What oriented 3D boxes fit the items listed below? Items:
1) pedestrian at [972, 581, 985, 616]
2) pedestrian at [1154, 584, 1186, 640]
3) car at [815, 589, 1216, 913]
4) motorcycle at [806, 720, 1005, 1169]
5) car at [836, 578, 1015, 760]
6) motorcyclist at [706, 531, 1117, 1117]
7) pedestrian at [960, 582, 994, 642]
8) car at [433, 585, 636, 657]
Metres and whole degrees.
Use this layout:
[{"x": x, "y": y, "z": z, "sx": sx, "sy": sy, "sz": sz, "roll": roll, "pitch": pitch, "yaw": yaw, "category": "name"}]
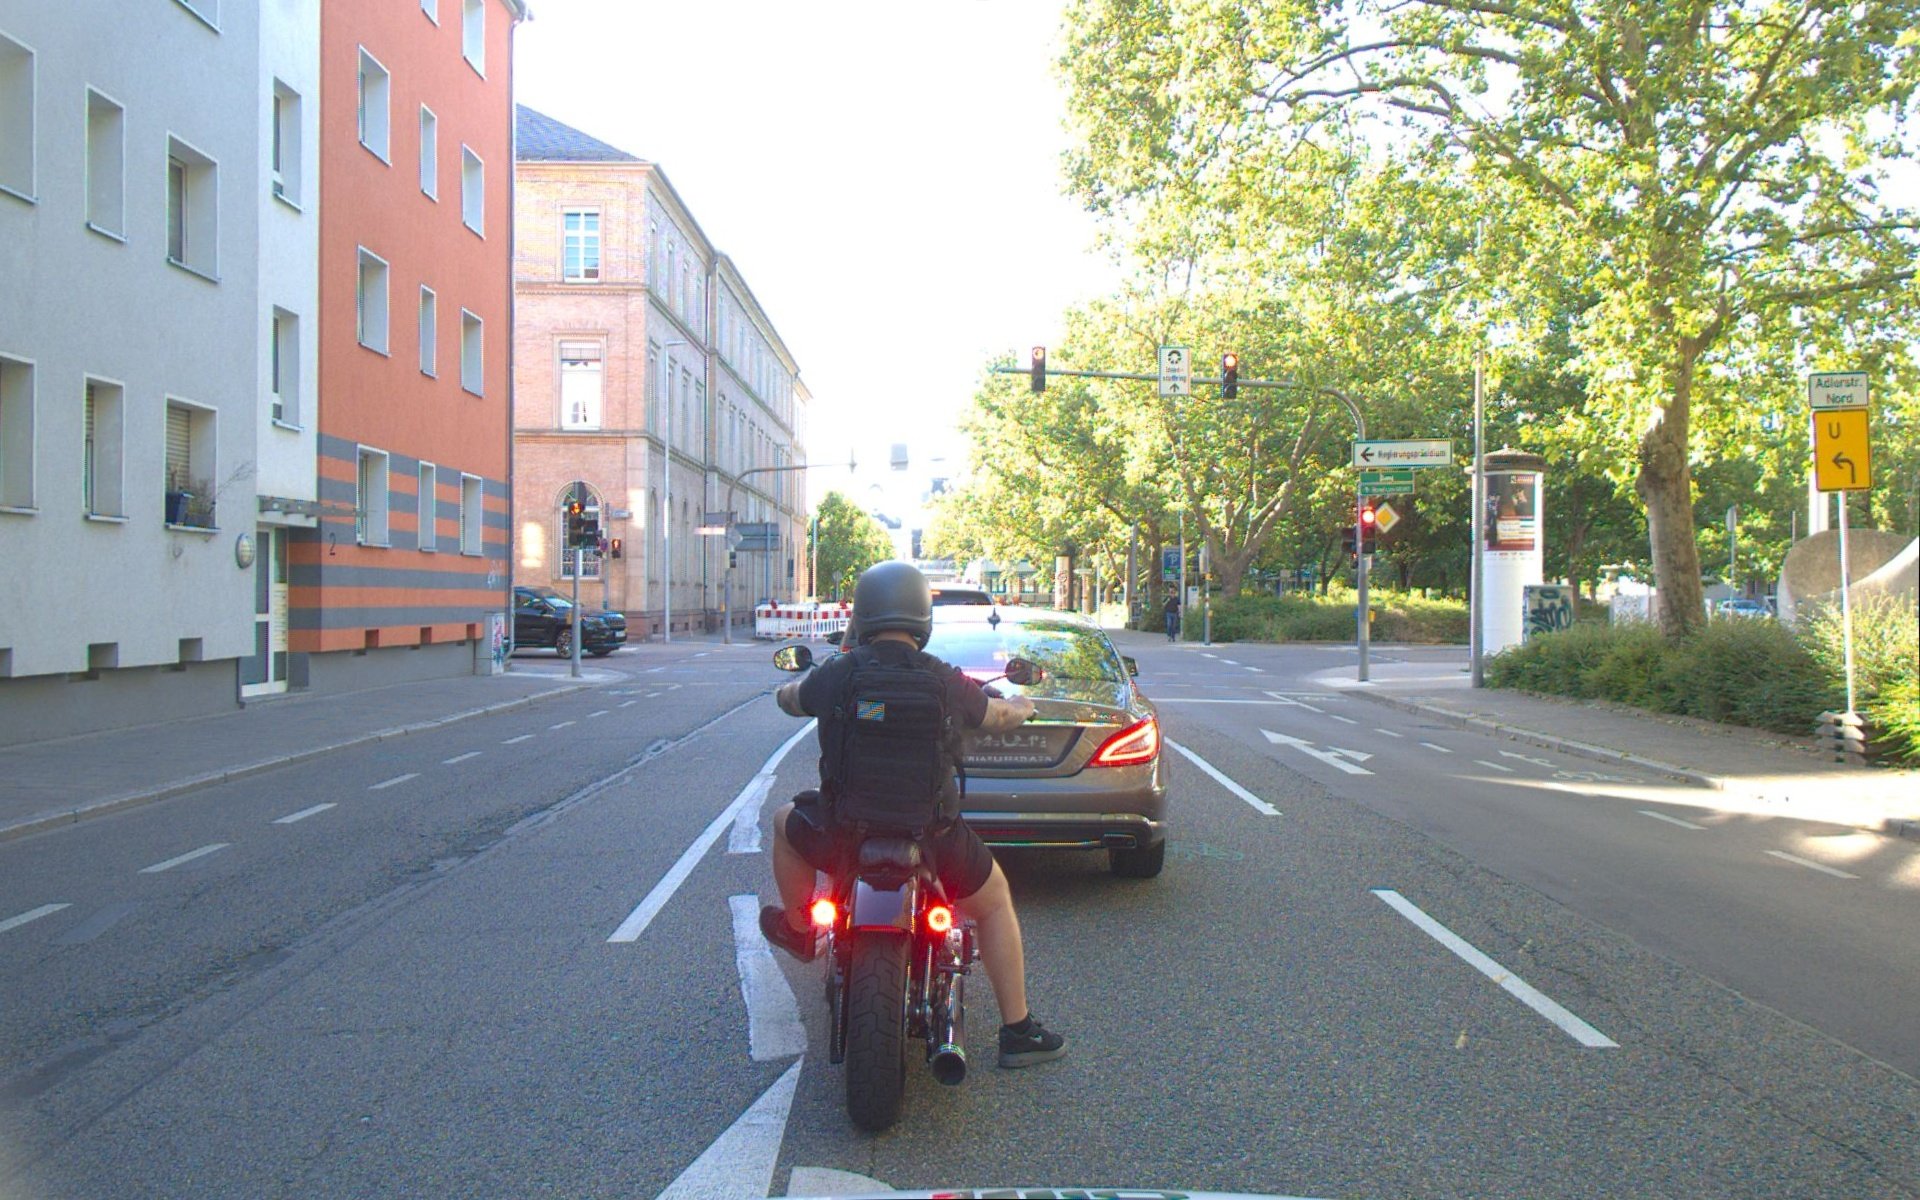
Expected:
[{"x": 1.114, "y": -0.083, "z": 100.825, "sx": 0.748, "sy": 2.087, "sz": 0.712, "roll": 1, "pitch": -1, "yaw": -1, "category": "pedestrian"}, {"x": 7.484, "y": 0.427, "z": 58.966, "sx": 0.741, "sy": 1.943, "sz": 0.917, "roll": 1, "pitch": -1, "yaw": -29, "category": "pedestrian"}, {"x": 0.235, "y": 0.694, "z": 9.600, "sx": 1.844, "sy": 1.475, "sz": 3.819, "roll": 1, "pitch": 0, "yaw": -1, "category": "car"}, {"x": -0.156, "y": 0.969, "z": 5.308, "sx": 0.503, "sy": 1.020, "sz": 2.013, "roll": 1, "pitch": 0, "yaw": -1, "category": "motorcycle"}, {"x": -0.331, "y": 0.606, "z": 16.709, "sx": 1.588, "sy": 1.622, "sz": 3.999, "roll": 0, "pitch": 0, "yaw": -1, "category": "car"}, {"x": -0.142, "y": 0.631, "z": 5.283, "sx": 1.125, "sy": 1.626, "sz": 1.288, "roll": 1, "pitch": 0, "yaw": -1, "category": "motorcyclist"}, {"x": 0.545, "y": 0.386, "z": 52.552, "sx": 0.980, "sy": 1.858, "sz": 1.077, "roll": 1, "pitch": -1, "yaw": 5, "category": "pedestrian"}, {"x": -9.974, "y": 0.488, "z": 39.031, "sx": 4.282, "sy": 1.597, "sz": 1.855, "roll": 1, "pitch": 0, "yaw": -1, "category": "car"}]
